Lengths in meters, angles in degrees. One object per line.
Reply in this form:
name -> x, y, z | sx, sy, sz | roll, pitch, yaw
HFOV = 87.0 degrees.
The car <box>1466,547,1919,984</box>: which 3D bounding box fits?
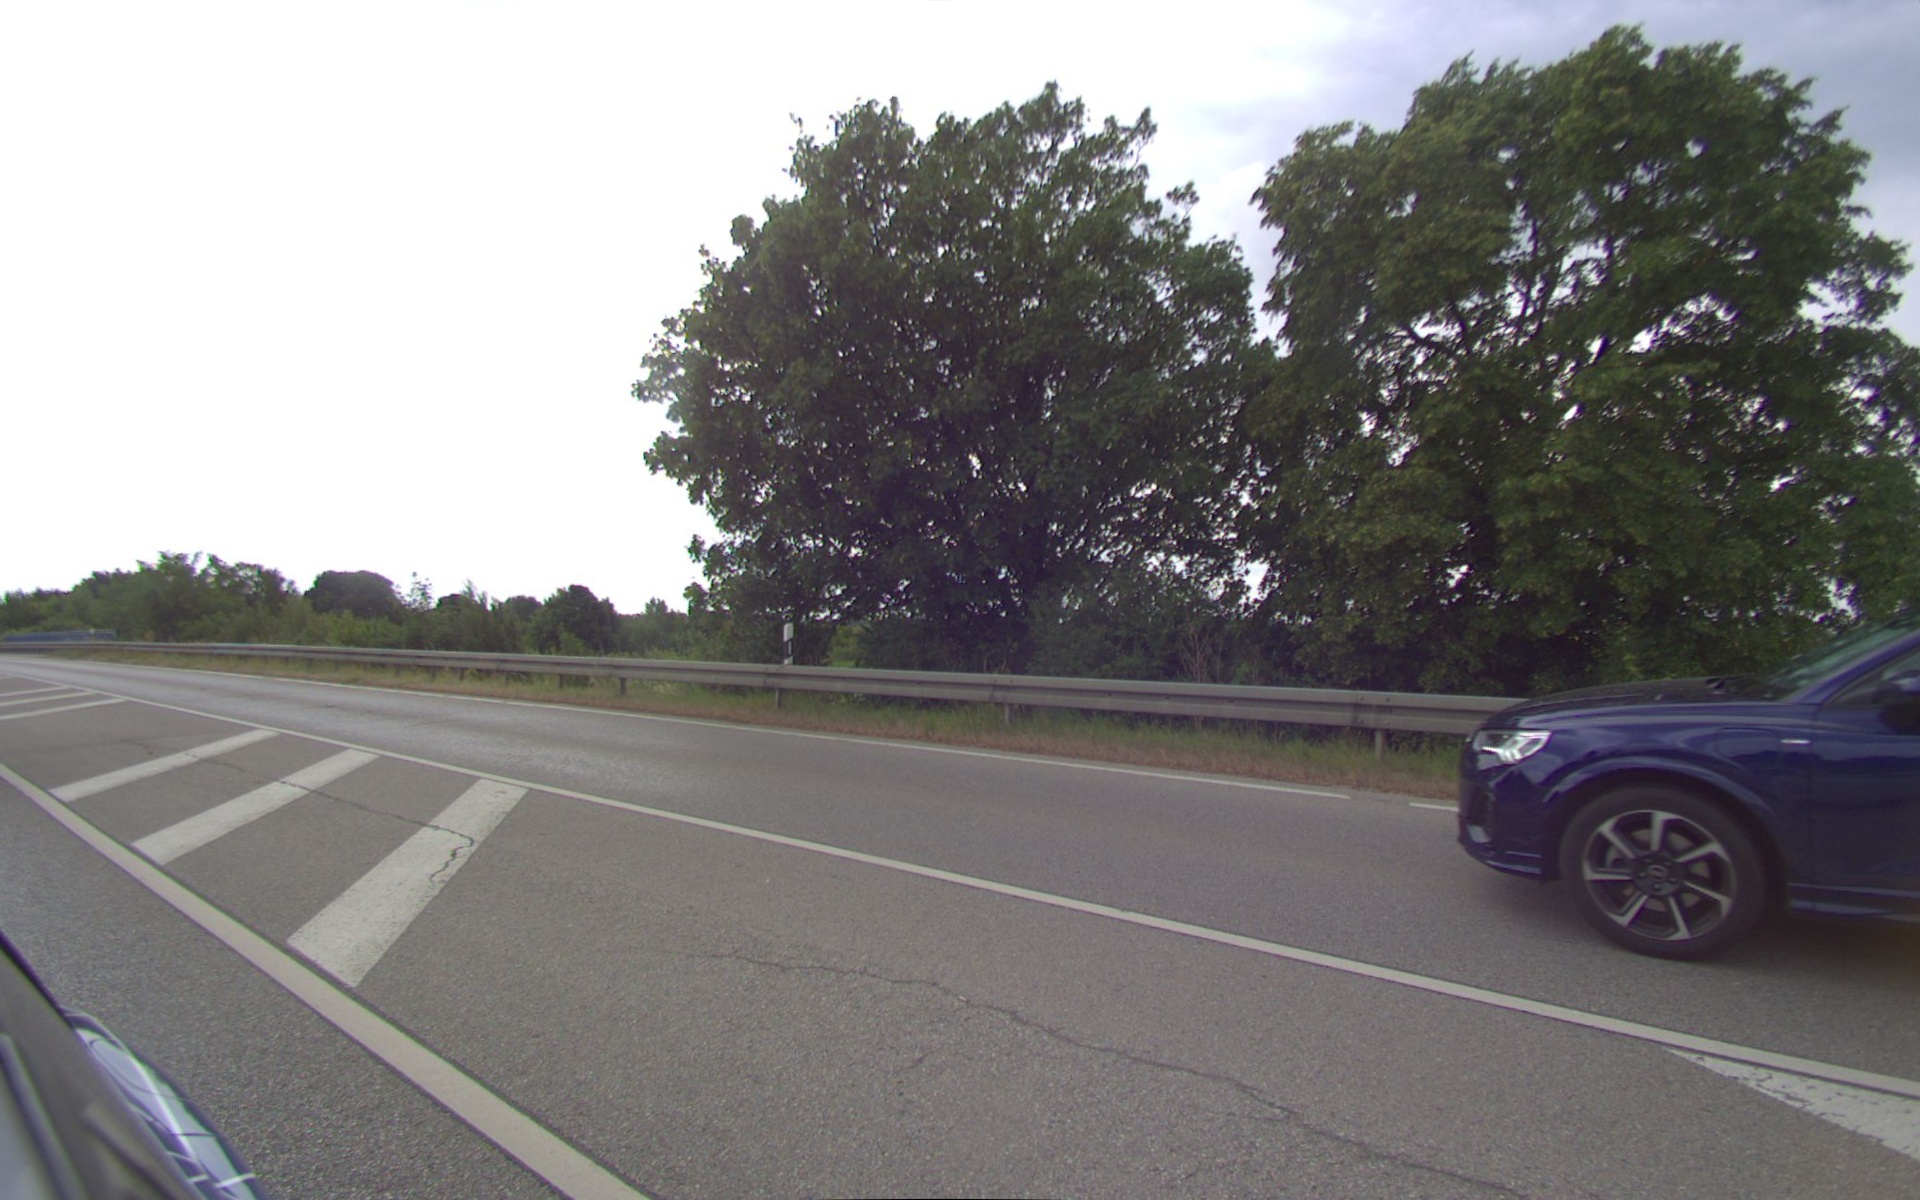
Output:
car -> 4.401, 0.562, 3.788 | 4.205, 1.530, 1.693 | -2, -1, 40
